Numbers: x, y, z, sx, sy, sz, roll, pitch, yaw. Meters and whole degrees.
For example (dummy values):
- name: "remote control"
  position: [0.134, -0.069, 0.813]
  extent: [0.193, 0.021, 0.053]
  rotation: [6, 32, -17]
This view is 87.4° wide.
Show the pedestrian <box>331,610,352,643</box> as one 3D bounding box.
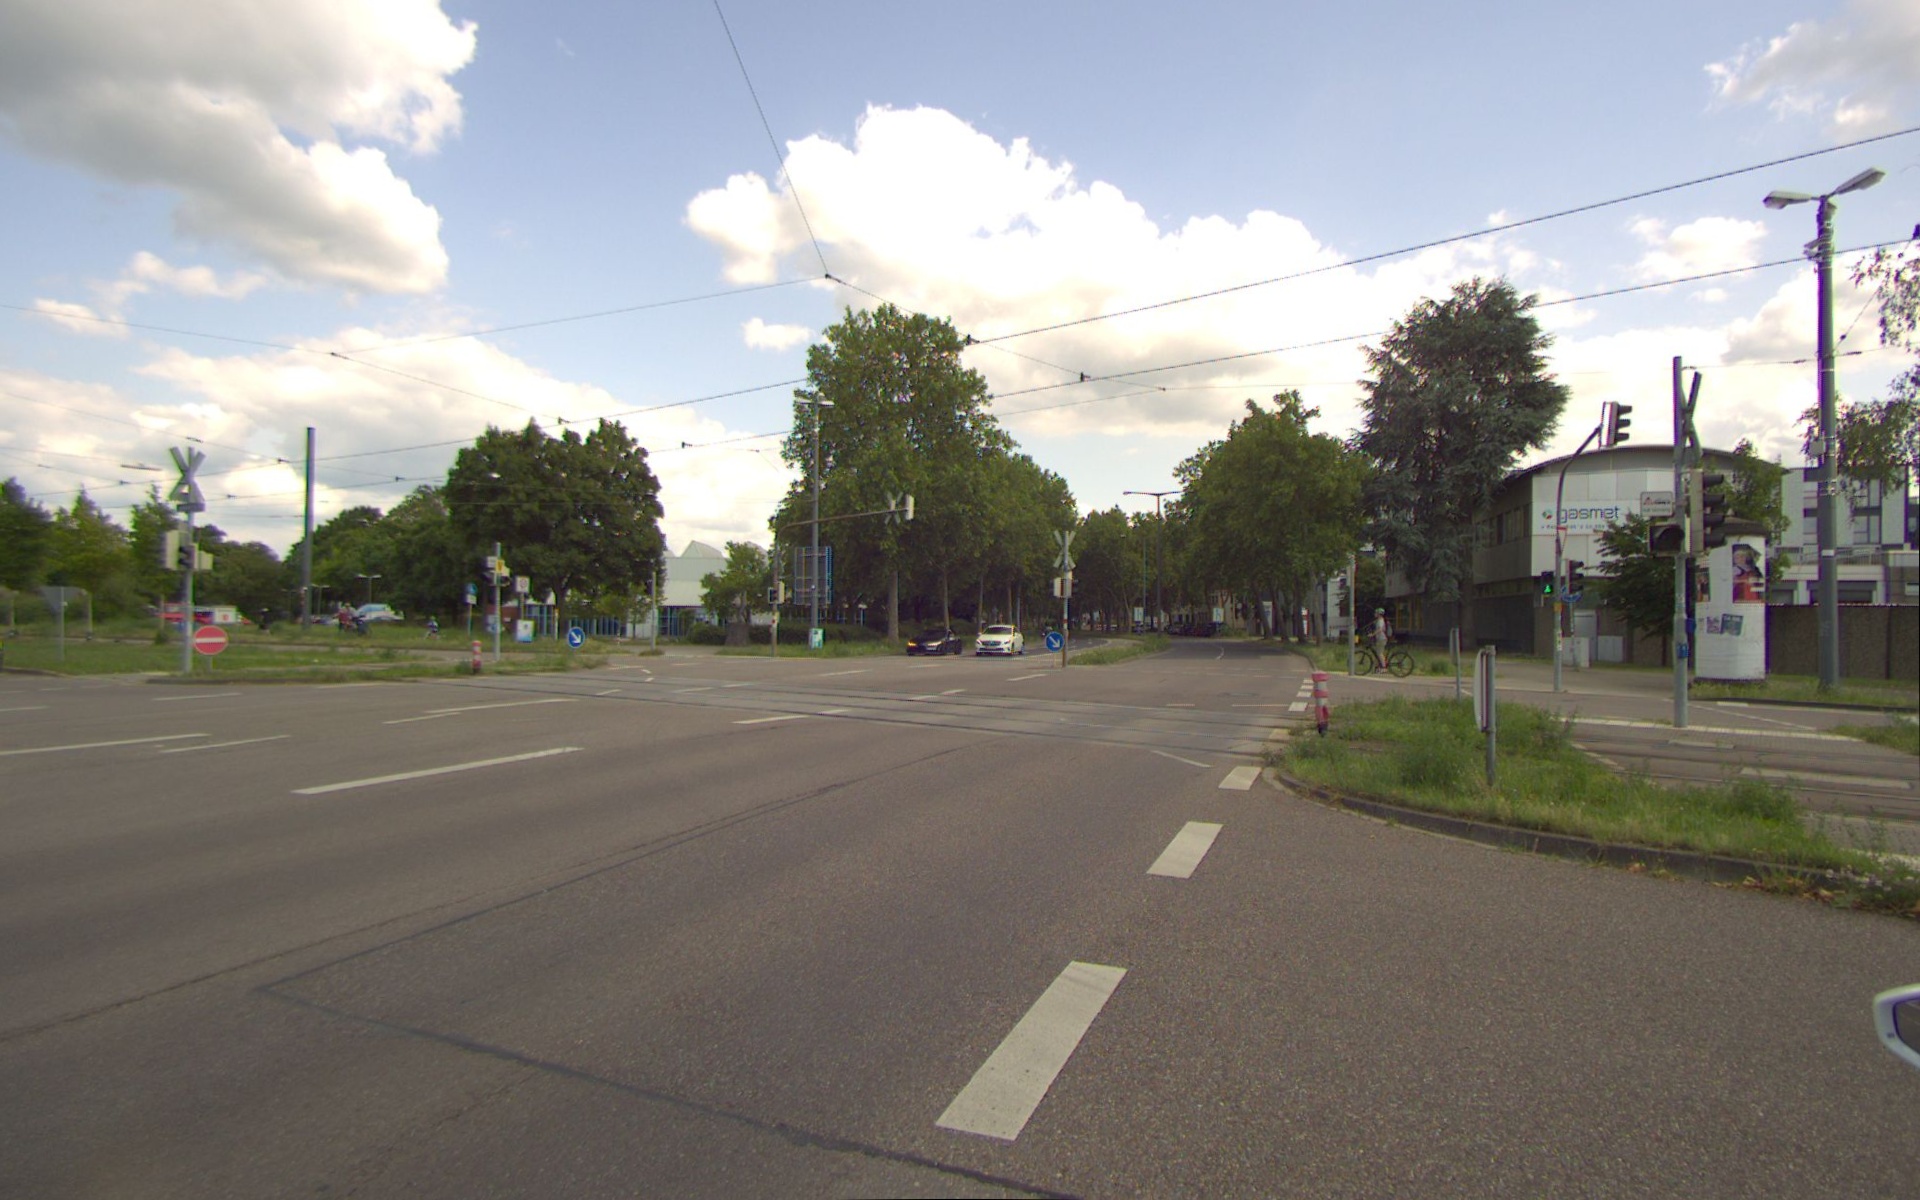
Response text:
- name: "pedestrian"
  position: [-31.160, 1.324, 50.641]
  extent: [0.625, 1.666, 0.613]
  rotation: [0, 1, 10]

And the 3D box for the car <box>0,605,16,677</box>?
- name: "car"
  position: [-24.094, 0.917, 23.402]
  extent: [3.976, 1.652, 1.734]
  rotation: [0, -1, 26]

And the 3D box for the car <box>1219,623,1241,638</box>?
- name: "car"
  position: [31.410, 3.575, 117.041]
  extent: [1.959, 1.595, 4.002]
  rotation: [0, 1, 6]

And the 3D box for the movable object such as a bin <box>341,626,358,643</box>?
- name: "movable object such as a bin"
  position: [-30.736, 1.736, 50.576]
  extent: [0.450, 0.822, 0.579]
  rotation: [0, 1, 10]

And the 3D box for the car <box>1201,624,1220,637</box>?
- name: "car"
  position: [32.122, 3.891, 128.882]
  extent: [1.959, 1.595, 4.002]
  rotation: [0, 1, 6]

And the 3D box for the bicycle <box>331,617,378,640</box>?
- name: "bicycle"
  position: [-31.549, 1.464, 52.350]
  extent: [1.944, 1.169, 0.952]
  rotation: [1, -1, 8]

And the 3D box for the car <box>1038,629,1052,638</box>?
- name: "car"
  position: [12.272, 4.848, 145.369]
  extent: [1.608, 1.207, 3.707]
  rotation: [1, -1, -3]

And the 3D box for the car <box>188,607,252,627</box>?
- name: "car"
  position: [-59.296, 1.397, 80.500]
  extent: [3.968, 1.550, 1.977]
  rotation: [2, -1, -40]

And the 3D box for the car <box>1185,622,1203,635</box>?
- name: "car"
  position: [32.033, 3.902, 137.344]
  extent: [1.959, 1.595, 4.002]
  rotation: [0, 1, 6]

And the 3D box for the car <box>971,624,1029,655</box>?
- name: "car"
  position: [1.957, 1.853, 48.013]
  extent: [1.794, 1.382, 4.139]
  rotation: [0, -1, 16]

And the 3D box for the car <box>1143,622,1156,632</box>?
- name: "car"
  position: [33.516, 4.716, 177.460]
  extent: [1.959, 1.595, 4.002]
  rotation: [0, 1, 6]

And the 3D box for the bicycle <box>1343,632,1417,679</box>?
- name: "bicycle"
  position: [12.002, 1.572, 28.751]
  extent: [1.916, 1.252, 0.540]
  rotation: [0, 1, 28]

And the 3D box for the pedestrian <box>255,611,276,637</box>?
- name: "pedestrian"
  position: [-37.678, 1.291, 54.513]
  extent: [0.738, 1.372, 0.650]
  rotation: [0, 1, 24]

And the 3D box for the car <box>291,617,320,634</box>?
- name: "car"
  position: [-66.070, 2.540, 101.373]
  extent: [1.984, 1.661, 4.340]
  rotation: [2, -1, -40]

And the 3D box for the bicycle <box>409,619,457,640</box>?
- name: "bicycle"
  position: [-26.896, 1.494, 51.300]
  extent: [1.944, 1.054, 0.952]
  rotation: [1, -1, 1]

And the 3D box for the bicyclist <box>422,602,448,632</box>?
- name: "bicyclist"
  position: [-26.810, 0.891, 51.309]
  extent: [0.819, 1.509, 0.963]
  rotation: [1, -1, 2]

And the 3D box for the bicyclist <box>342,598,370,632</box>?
- name: "bicyclist"
  position: [-31.458, 0.806, 52.347]
  extent: [0.819, 1.745, 0.964]
  rotation: [1, -1, 7]

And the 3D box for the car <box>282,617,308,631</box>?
- name: "car"
  position: [-78.161, 2.823, 118.039]
  extent: [1.984, 1.661, 4.340]
  rotation: [2, -1, -40]

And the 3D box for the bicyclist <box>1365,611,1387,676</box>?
- name: "bicyclist"
  position: [11.930, 1.235, 28.791]
  extent: [0.535, 1.834, 0.540]
  rotation: [0, 1, 27]

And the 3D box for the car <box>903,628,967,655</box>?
- name: "car"
  position: [-1.161, 1.979, 48.292]
  extent: [1.609, 1.207, 3.705]
  rotation: [0, -1, 25]

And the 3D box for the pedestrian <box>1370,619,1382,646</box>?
- name: "pedestrian"
  position: [24.850, 1.956, 59.980]
  extent: [0.610, 1.590, 0.559]
  rotation: [0, 1, 18]

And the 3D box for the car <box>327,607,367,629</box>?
- name: "car"
  position: [-46.763, 1.383, 76.580]
  extent: [1.984, 1.661, 4.340]
  rotation: [2, -1, -40]
